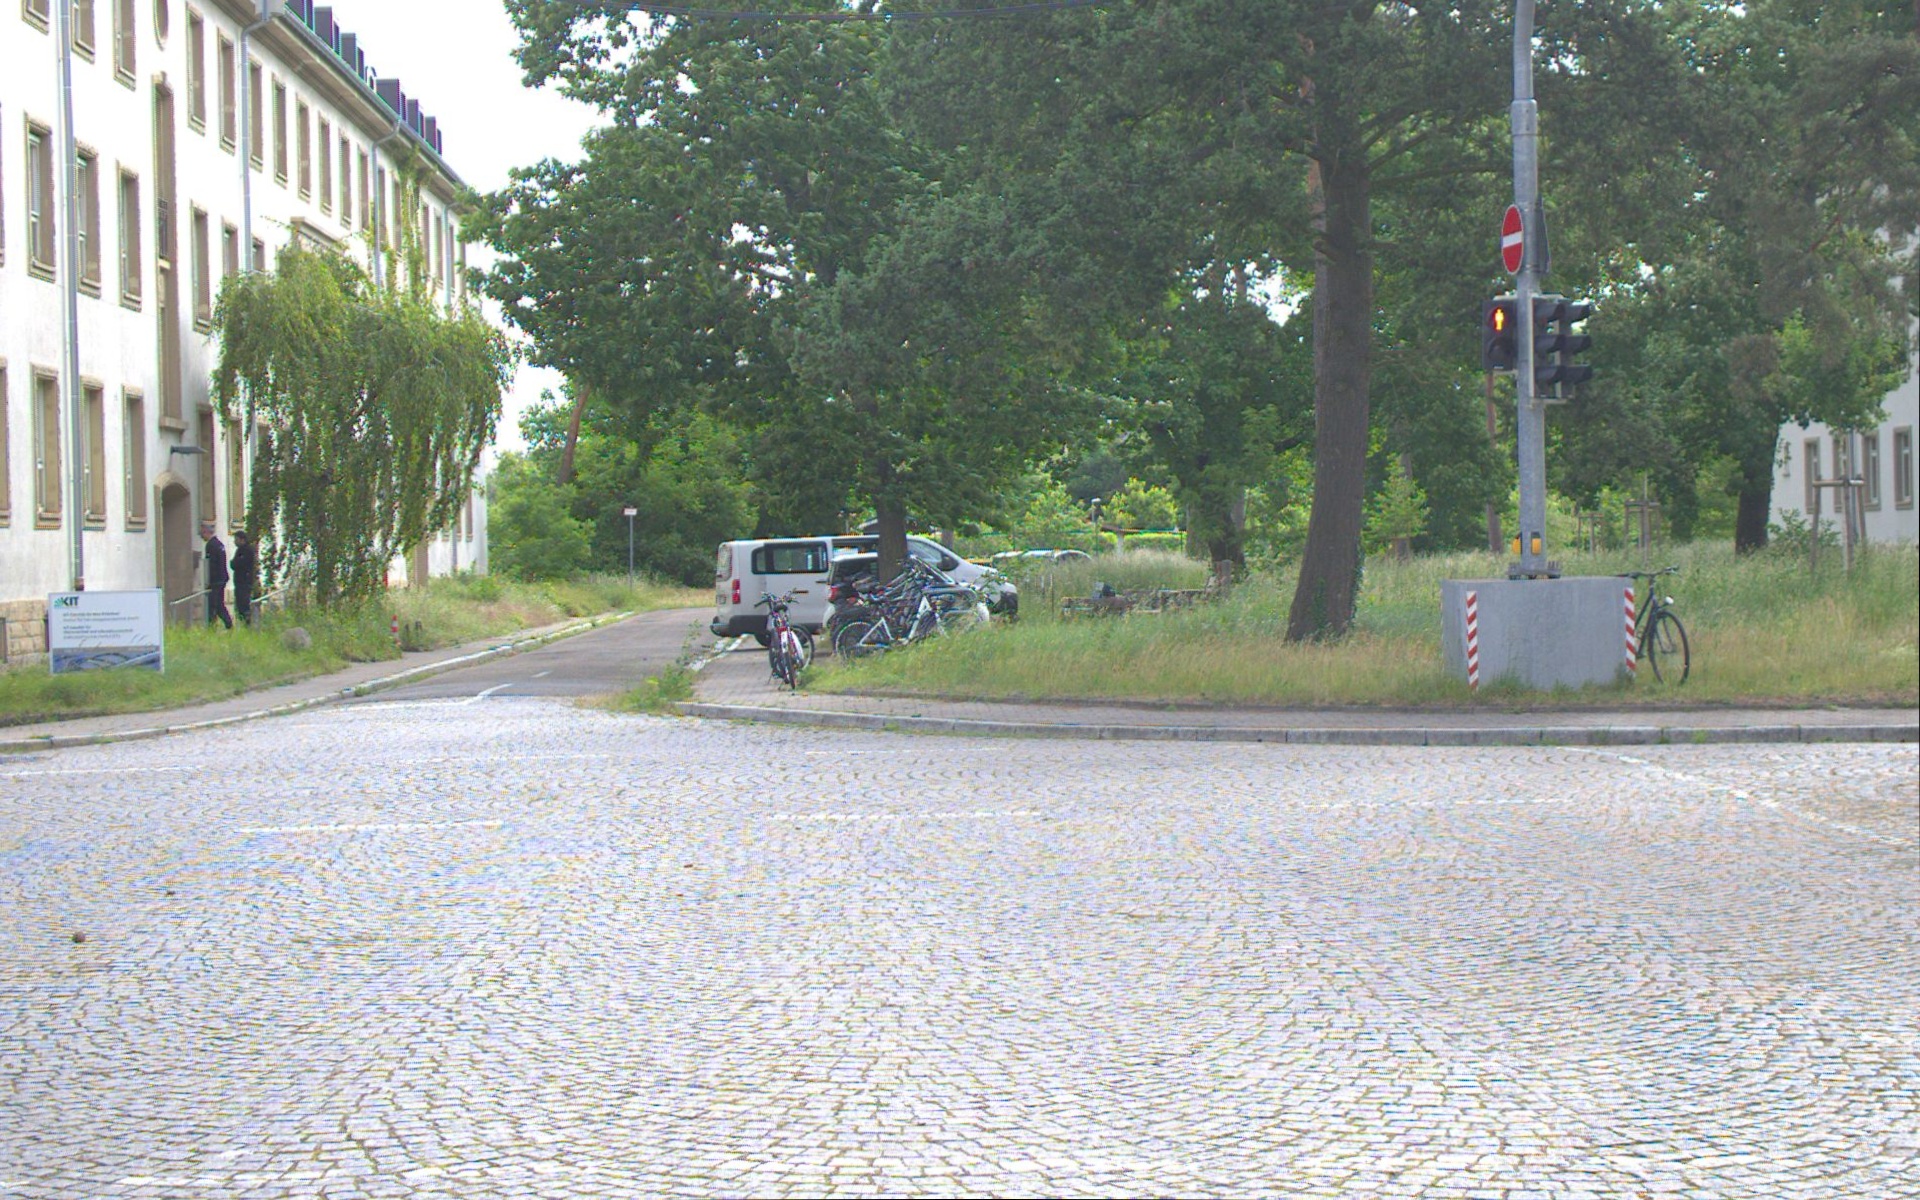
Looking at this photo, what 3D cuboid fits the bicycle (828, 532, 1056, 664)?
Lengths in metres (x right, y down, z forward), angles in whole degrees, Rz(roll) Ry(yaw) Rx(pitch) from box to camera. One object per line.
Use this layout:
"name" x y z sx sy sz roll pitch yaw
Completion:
"bicycle" -0.241 -0.028 43.112 2.802 1.578 0.951 -1 1 -2

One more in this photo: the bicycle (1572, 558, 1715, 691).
"bicycle" 5.884 0.197 29.692 0.644 1.059 1.834 -5 1 -5

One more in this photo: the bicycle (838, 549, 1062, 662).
"bicycle" -0.143 0.060 44.047 2.802 1.367 0.951 -1 1 -2

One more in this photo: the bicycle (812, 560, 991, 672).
"bicycle" -0.721 0.187 41.620 2.113 1.302 0.874 -1 1 -2

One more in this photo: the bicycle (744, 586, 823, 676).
"bicycle" -2.058 0.351 40.299 0.727 0.993 1.979 -1 1 3

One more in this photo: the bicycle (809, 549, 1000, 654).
"bicycle" -0.776 0.010 47.262 2.567 1.367 0.951 -1 1 -3

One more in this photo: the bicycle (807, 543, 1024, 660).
"bicycle" -0.556 0.007 42.234 2.619 1.362 0.874 -1 1 -2

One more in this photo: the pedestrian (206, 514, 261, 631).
"pedestrian" -12.086 -0.460 57.189 0.865 1.925 0.837 1 0 -13

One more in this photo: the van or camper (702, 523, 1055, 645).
"van or camper" -1.430 -0.294 59.725 5.740 1.950 2.238 -2 1 -14

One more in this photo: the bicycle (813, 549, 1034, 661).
"bicycle" -0.489 0.057 44.572 2.802 1.367 0.951 -1 1 -2

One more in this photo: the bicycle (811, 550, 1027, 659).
"bicycle" -0.551 0.051 45.464 2.802 1.367 0.951 -1 1 -2

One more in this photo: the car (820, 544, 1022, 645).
"car" -0.667 -0.093 56.233 3.224 1.615 1.938 0 0 -3

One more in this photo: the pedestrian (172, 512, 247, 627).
"pedestrian" -12.332 -0.501 56.527 1.194 1.863 1.550 0 0 -12

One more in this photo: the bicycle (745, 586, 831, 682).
"bicycle" -1.908 0.365 38.210 0.900 0.993 1.979 -1 1 -3

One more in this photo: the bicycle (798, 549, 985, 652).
"bicycle" -0.970 0.004 48.095 2.567 1.367 0.951 -1 1 -3
